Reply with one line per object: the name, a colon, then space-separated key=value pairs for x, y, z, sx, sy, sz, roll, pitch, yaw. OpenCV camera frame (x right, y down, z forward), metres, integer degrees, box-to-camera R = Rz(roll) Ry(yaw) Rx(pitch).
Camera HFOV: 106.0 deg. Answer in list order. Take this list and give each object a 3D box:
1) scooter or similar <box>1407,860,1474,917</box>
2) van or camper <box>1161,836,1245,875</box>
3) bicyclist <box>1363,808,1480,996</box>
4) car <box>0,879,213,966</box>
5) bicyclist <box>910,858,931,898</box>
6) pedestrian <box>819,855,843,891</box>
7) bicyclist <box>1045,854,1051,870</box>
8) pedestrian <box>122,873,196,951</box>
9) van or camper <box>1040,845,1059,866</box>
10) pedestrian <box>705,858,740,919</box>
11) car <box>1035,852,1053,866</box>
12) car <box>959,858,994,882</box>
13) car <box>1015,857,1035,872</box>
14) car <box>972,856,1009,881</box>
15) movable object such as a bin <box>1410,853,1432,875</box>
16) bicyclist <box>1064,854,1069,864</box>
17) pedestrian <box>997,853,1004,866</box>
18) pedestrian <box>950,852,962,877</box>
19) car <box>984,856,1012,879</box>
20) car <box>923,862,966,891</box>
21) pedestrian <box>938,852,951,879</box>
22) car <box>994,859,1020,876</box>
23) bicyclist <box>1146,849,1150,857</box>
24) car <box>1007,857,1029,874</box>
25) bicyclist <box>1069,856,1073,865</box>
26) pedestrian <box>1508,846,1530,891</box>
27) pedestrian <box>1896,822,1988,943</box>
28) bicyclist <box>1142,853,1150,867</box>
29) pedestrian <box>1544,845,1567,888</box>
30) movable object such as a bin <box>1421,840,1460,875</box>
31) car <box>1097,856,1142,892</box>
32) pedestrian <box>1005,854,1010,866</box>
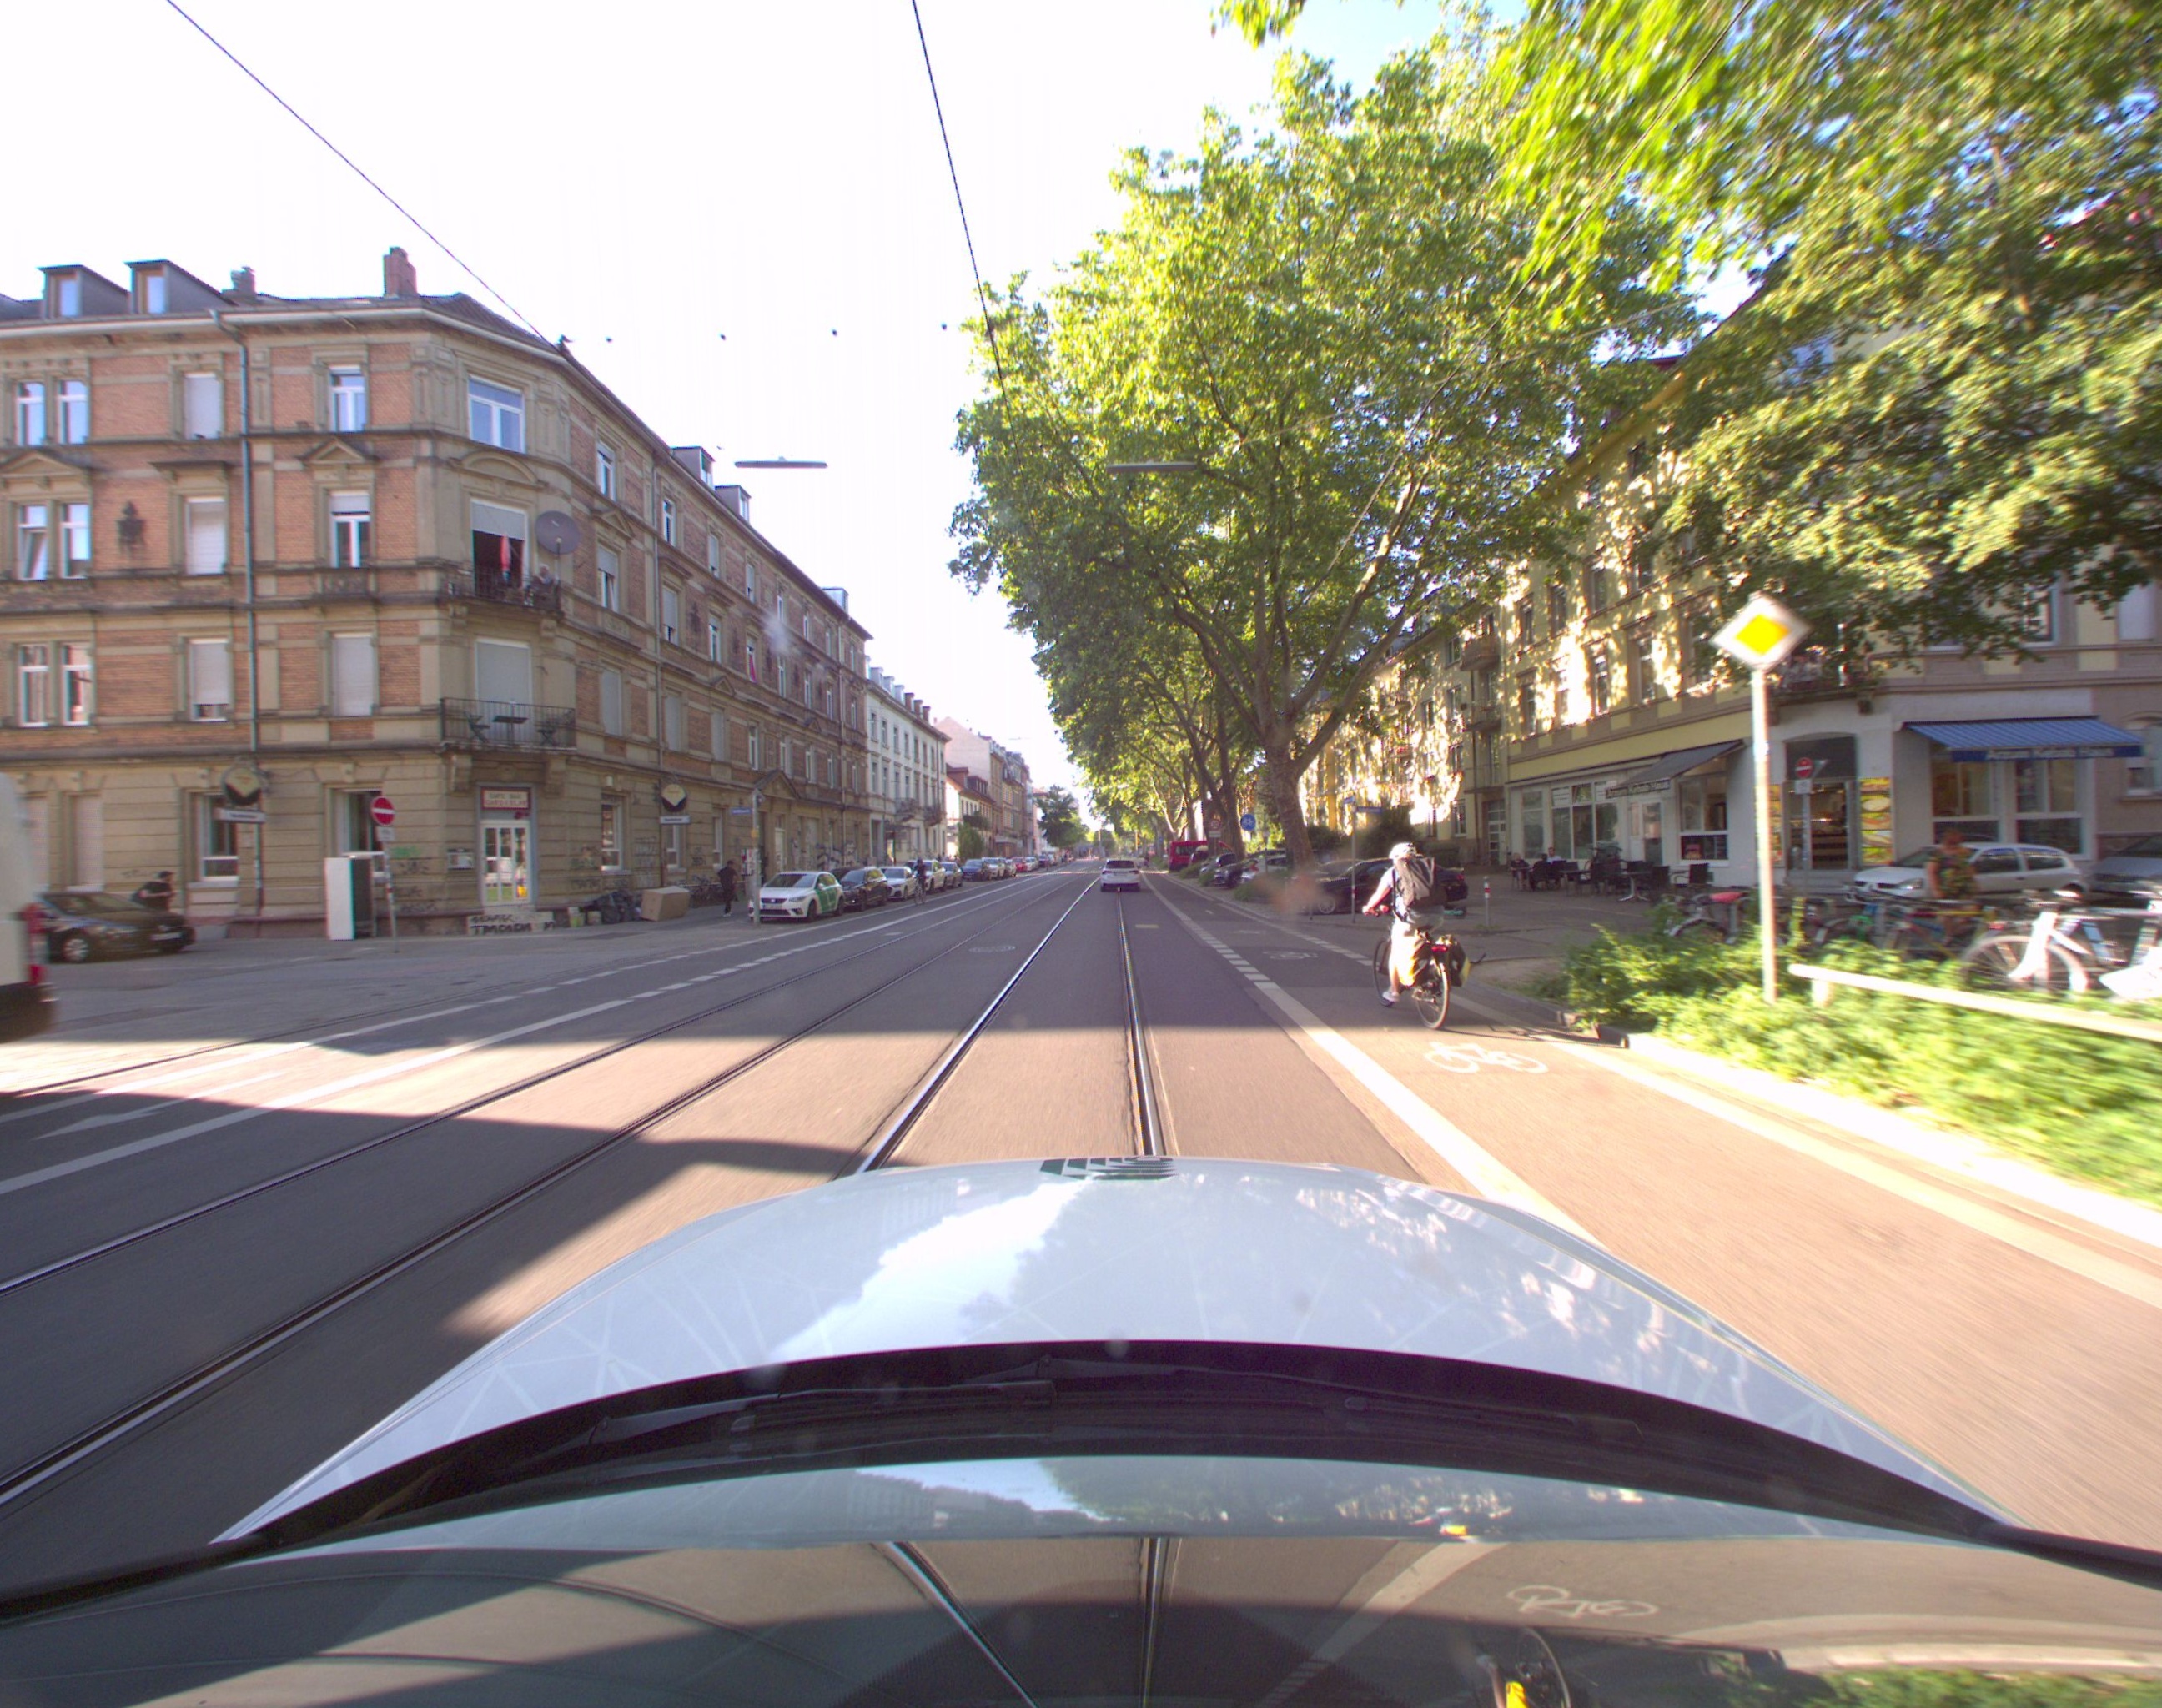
scooter or similar: x=8.066 y=0.777 z=18.295 sx=1.297 sy=1.256 sz=0.342 roll=-2 pitch=0 yaw=15
van or camper: x=9.045 y=0.112 z=60.560 sx=5.796 sy=2.519 sz=2.288 roll=-4 pitch=1 yaw=0
bicyclist: x=3.032 y=0.401 z=7.333 sx=0.612 sy=1.552 sz=0.936 roll=3 pitch=0 yaw=2
car: x=-20.734 y=1.422 z=17.167 sx=3.153 sy=1.584 sz=1.725 roll=-2 pitch=1 yaw=7
bicyclist: x=-6.112 y=0.908 z=31.059 sx=0.580 sy=1.482 sz=0.807 roll=-2 pitch=0 yaw=2
pedestrian: x=-11.496 y=0.870 z=37.446 sx=0.656 sy=1.665 sz=0.773 roll=-1 pitch=-1 yaw=34
bicyclist: x=-3.488 y=0.871 z=85.911 sx=0.471 sy=1.636 sz=0.800 roll=-2 pitch=0 yaw=3
pedestrian: x=-21.246 y=1.317 z=18.779 sx=0.653 sy=1.748 sz=0.895 roll=0 pitch=0 yaw=6
van or camper: x=-4.841 y=0.219 z=126.599 sx=2.206 sy=3.140 sz=7.121 roll=-1 pitch=0 yaw=4
pedestrian: x=-10.821 y=1.011 z=24.599 sx=0.683 sy=1.801 sz=1.054 roll=0 pitch=0 yaw=-7
car: x=-4.887 y=0.662 z=108.301 sx=1.957 sy=1.781 sz=4.938 roll=1 pitch=0 yaw=1
car: x=-7.091 y=1.083 z=55.643 sx=1.546 sy=1.515 sz=3.929 roll=-2 pitch=0 yaw=5
car: x=-5.940 y=1.053 z=86.762 sx=1.821 sy=1.502 sz=4.688 roll=0 pitch=0 yaw=0
car: x=-6.688 y=1.019 z=60.568 sx=1.849 sy=1.703 sz=4.767 roll=-2 pitch=0 yaw=3
movable object such as a bin: x=15.542 y=0.444 z=37.230 sx=0.745 sy=0.943 sz=0.466 roll=-3 pitch=0 yaw=2
bicyclist: x=-2.463 y=0.908 z=137.271 sx=0.533 sy=1.634 sz=0.897 roll=-4 pitch=-1 yaw=4
pedestrian: x=-10.334 y=0.685 z=104.488 sx=0.773 sy=1.634 sz=0.654 roll=0 pitch=0 yaw=-13
pedestrian: x=-9.513 y=0.794 z=62.097 sx=0.757 sy=1.821 sz=0.830 roll=-2 pitch=0 yaw=-1
car: x=-6.674 y=1.036 z=65.843 sx=1.852 sy=1.703 sz=4.655 roll=-2 pitch=0 yaw=-3
car: x=-7.586 y=1.225 z=45.605 sx=1.657 sy=1.521 sz=4.064 roll=0 pitch=0 yaw=0
pedestrian: x=-10.452 y=0.867 z=62.282 sx=0.757 sy=2.013 sz=0.830 roll=-2 pitch=0 yaw=0
car: x=-6.447 y=1.161 z=71.363 sx=1.680 sy=1.477 sz=4.260 roll=0 pitch=0 yaw=2
bicyclist: x=14.713 y=-0.224 z=179.199 sx=0.731 sy=1.589 sz=0.589 roll=-2 pitch=0 yaw=15
car: x=-6.265 y=1.116 z=81.536 sx=1.561 sy=1.562 sz=3.455 roll=-2 pitch=0 yaw=6
bicyclist: x=-1.741 y=1.201 z=143.902 sx=0.635 sy=1.503 sz=1.071 roll=-3 pitch=-1 yaw=4
pedestrian: x=13.789 y=0.456 z=25.623 sx=0.480 sy=1.375 sz=1.063 roll=-2 pitch=0 yaw=33
pedestrian: x=12.243 y=0.388 z=11.588 sx=0.594 sy=1.651 sz=0.703 roll=-1 pitch=-1 yaw=-24
bicyclist: x=6.251 y=0.558 z=78.354 sx=0.676 sy=1.339 sz=0.525 roll=0 pitch=0 yaw=2
pedestrian: x=14.865 y=0.383 z=25.503 sx=0.480 sy=1.328 sz=0.691 roll=-2 pitch=0 yaw=39
movable object such as a bin: x=15.604 y=0.165 z=35.357 sx=1.162 sy=1.437 sz=1.118 roll=-3 pitch=0 yaw=2
car: x=1.642 y=0.858 z=35.939 sx=1.836 sy=1.480 sz=3.838 roll=-1 pitch=0 yaw=0
pedestrian: x=-9.470 y=0.767 z=104.737 sx=0.636 sy=1.460 sz=0.654 roll=0 pitch=0 yaw=-14
